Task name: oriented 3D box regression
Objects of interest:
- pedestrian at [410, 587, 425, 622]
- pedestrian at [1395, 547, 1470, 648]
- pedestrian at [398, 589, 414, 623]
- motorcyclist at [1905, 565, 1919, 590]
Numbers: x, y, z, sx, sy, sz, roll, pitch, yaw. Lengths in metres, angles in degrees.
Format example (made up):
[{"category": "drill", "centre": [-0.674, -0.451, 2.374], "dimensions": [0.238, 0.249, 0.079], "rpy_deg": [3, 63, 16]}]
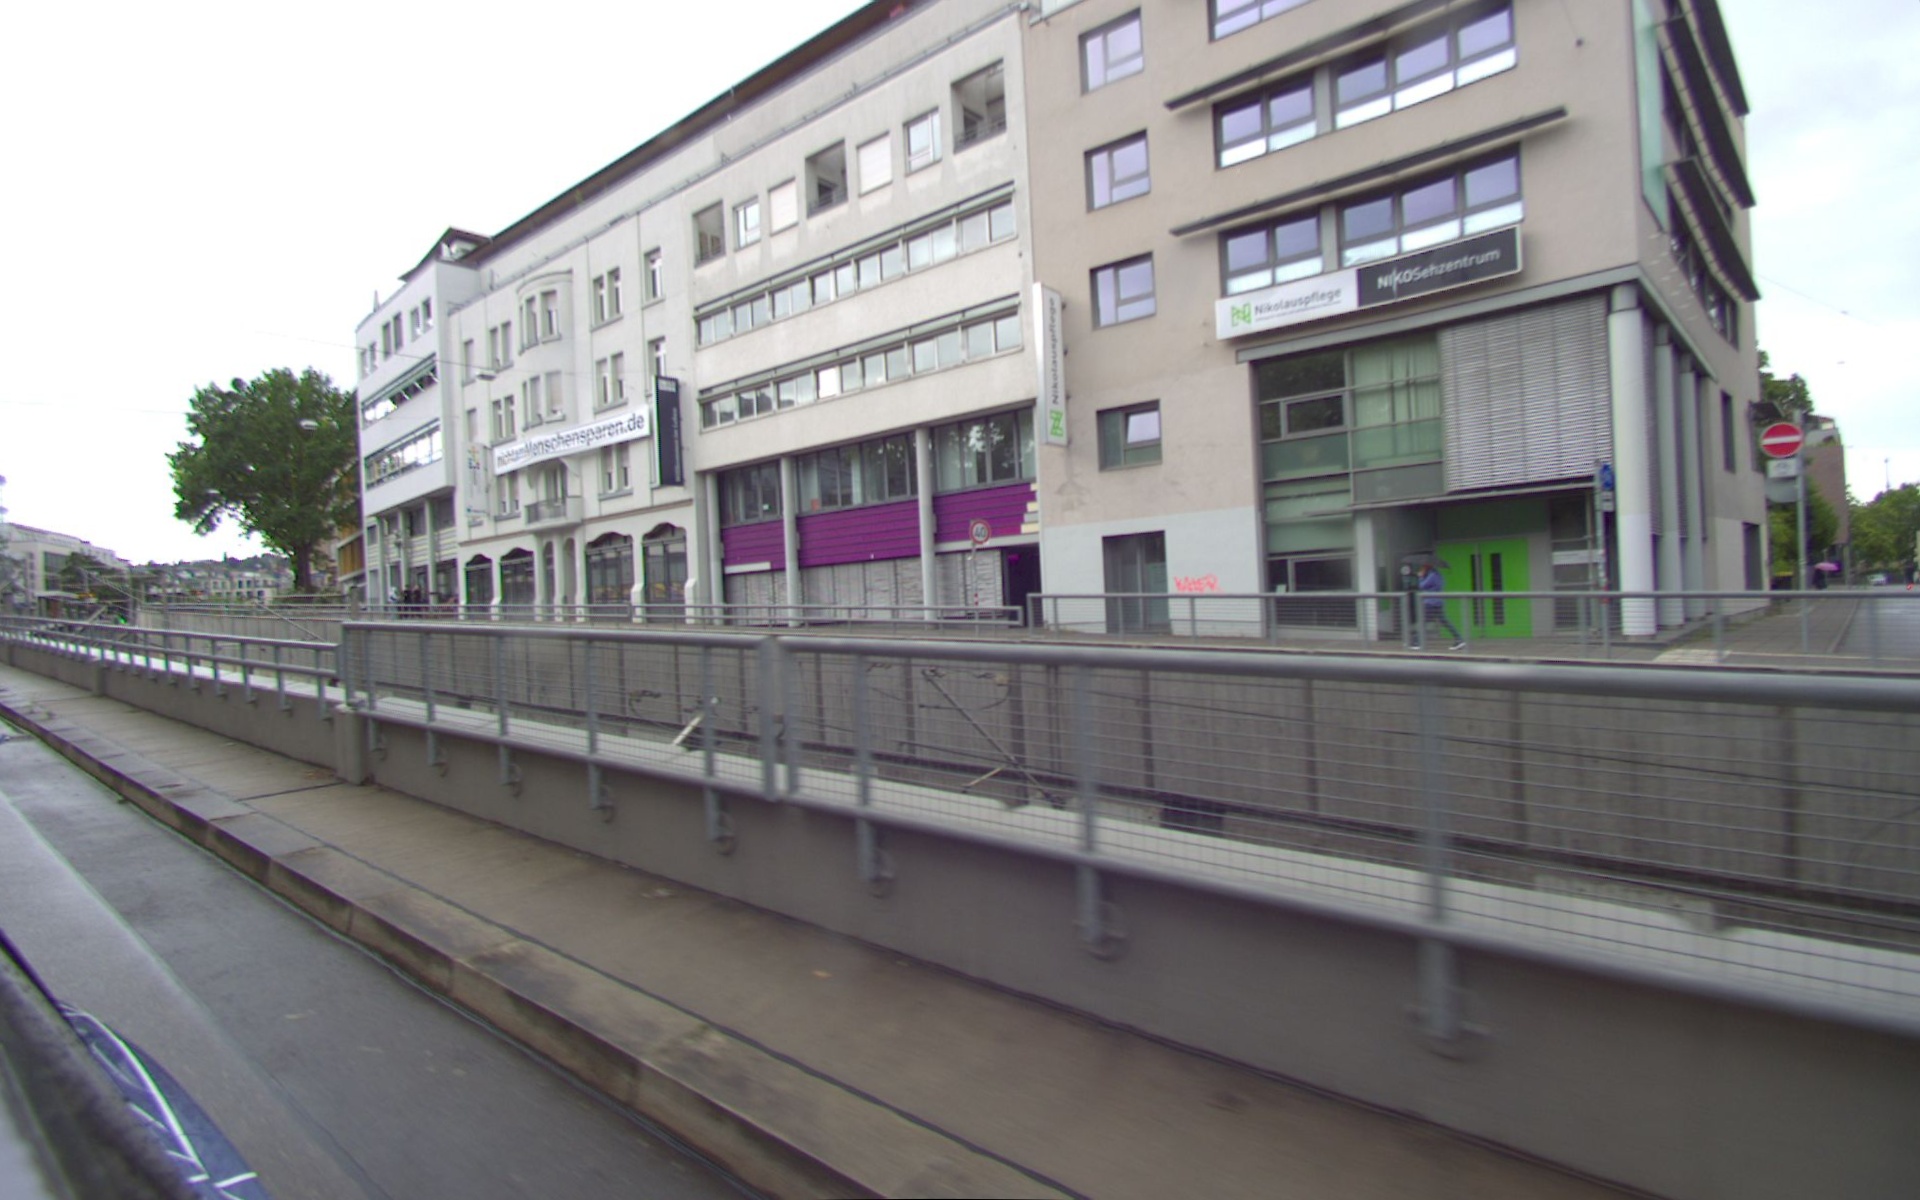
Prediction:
[{"category": "pedestrian", "centre": [-28.622, 0.226, 53.401], "dimensions": [0.547, 1.816, 0.463], "rpy_deg": [-1, 1, 44]}, {"category": "pedestrian", "centre": [9.002, -0.060, 19.286], "dimensions": [1.059, 1.852, 0.848], "rpy_deg": [-1, 1, 41]}, {"category": "pedestrian", "centre": [-29.636, 0.317, 54.152], "dimensions": [0.469, 1.816, 0.541], "rpy_deg": [-1, 1, 33]}, {"category": "motorcyclist", "centre": [70.734, -1.704, 75.121], "dimensions": [0.860, 1.821, 1.001], "rpy_deg": [-1, 1, 42]}]
